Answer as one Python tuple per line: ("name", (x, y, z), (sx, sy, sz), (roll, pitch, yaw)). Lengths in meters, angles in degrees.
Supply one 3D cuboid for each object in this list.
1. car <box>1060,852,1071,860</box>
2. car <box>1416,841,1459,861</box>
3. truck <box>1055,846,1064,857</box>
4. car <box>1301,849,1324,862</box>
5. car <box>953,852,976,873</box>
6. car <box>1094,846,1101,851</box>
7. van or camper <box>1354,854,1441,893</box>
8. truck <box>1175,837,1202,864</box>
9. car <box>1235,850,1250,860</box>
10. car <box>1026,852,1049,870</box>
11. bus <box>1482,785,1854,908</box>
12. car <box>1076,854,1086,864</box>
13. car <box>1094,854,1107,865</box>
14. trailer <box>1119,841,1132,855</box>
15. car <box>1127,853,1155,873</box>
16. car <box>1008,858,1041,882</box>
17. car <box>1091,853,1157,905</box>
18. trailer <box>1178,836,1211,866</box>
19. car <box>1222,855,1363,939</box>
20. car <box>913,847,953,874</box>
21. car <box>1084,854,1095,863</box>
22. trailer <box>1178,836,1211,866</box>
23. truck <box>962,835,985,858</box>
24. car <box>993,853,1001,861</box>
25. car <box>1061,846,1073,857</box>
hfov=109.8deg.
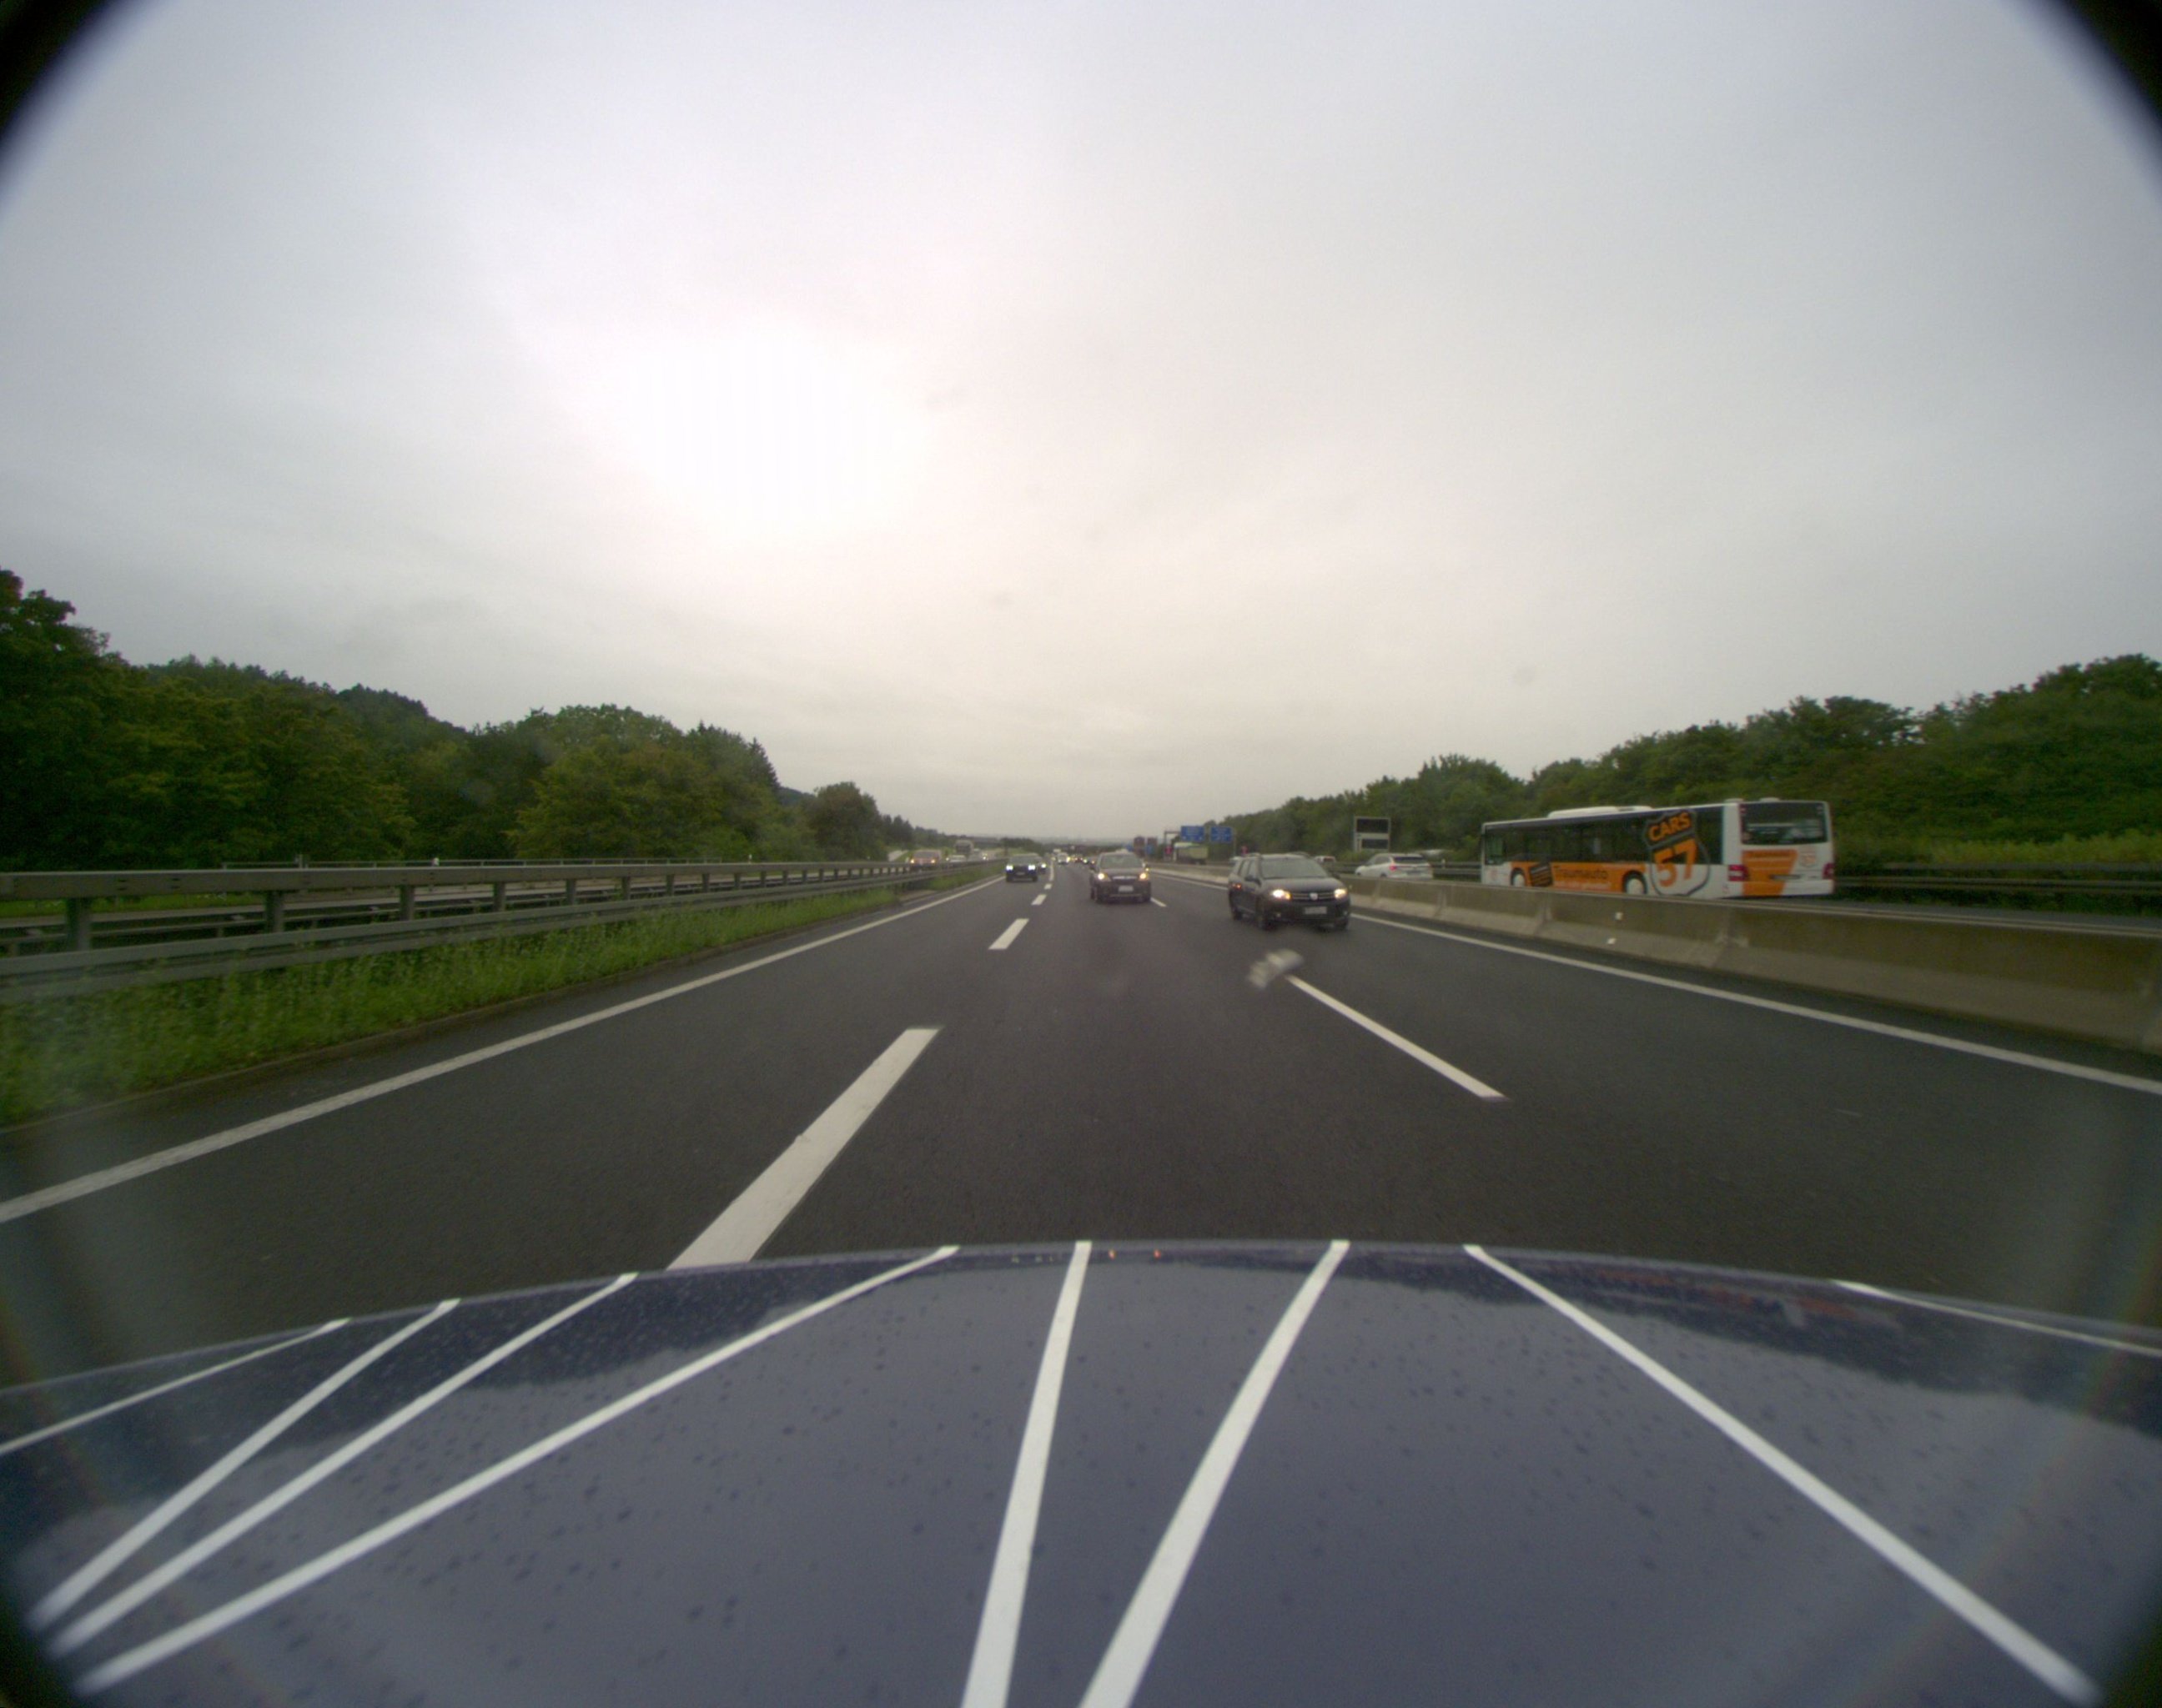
("car", (-2.913, 0.370, 139.581), (1.920, 1.481, 4.565), (-1, 1, -3))
("car", (31.593, -0.268, 67.476), (1.805, 1.776, 4.411), (0, 0, 0))
("truck", (-7.273, -0.948, 260.876), (2.799, 3.878, 10.026), (-1, 1, 0))
("car", (31.320, 0.161, 102.862), (1.805, 1.776, 4.411), (0, 0, 0))
("car", (-11.726, 0.845, 76.864), (1.752, 2.002, 4.497), (-1, 1, -2))
("car", (4.890, -1.630, 223.780), (1.813, 1.571, 4.354), (-1, 1, -4))
("van or camper", (12.998, 0.745, 31.555), (1.752, 1.439, 4.585), (-1, 1, 1))
("truck", (15.052, -0.472, 106.890), (2.894, 3.727, 5.943), (-1, 1, -1))
("car", (29.207, 0.150, 137.242), (1.805, 1.776, 4.411), (0, 0, 0))
("car", (-3.861, 0.618, 68.392), (1.886, 1.519, 3.999), (-1, 1, -1))
("bus", (17.308, -0.246, 24.286), (2.705, 2.941, 11.896), (0, 1, 0))
("car", (0.035, 1.066, 168.881), (2.100, 2.148, 4.406), (-1, 1, -1))
("car", (2.860, 0.793, 112.298), (1.781, 1.669, 4.566), (-1, 1, -1))
("trailer", (11.921, -1.554, 203.893), (2.643, 3.715, 10.808), (-1, 1, -1))
("car", (4.705, 0.652, 60.085), (1.726, 1.481, 4.566), (-1, 1, -1))
("car", (-3.560, 0.999, 48.802), (1.867, 1.349, 4.566), (-1, 1, -1))
("car", (1.357, 0.770, 25.424), (1.813, 1.571, 3.833), (-1, 1, -3))
("trailer", (15.175, -0.429, 102.561), (2.910, 3.727, 8.925), (-1, 1, -1))
("car", (4.321, 0.790, 16.279), (1.726, 1.481, 4.566), (-1, 1, 0))
("car", (-11.595, 0.500, 59.829), (2.130, 2.002, 5.076), (-1, 1, 0))
("car", (1.506, 0.778, 135.753), (1.726, 1.481, 4.566), (-1, 1, -1))
("trailer", (15.175, -0.429, 102.561), (2.910, 3.727, 8.925), (-1, 1, -1))
("truck", (-18.335, -1.277, 130.135), (2.799, 3.878, 10.025), (-1, 1, -1))
("car", (-19.872, 0.696, 179.370), (1.753, 2.002, 4.495), (-1, 1, -7))
("car", (-2.718, -0.537, 145.934), (2.016, 1.994, 4.565), (-1, 1, -3))
